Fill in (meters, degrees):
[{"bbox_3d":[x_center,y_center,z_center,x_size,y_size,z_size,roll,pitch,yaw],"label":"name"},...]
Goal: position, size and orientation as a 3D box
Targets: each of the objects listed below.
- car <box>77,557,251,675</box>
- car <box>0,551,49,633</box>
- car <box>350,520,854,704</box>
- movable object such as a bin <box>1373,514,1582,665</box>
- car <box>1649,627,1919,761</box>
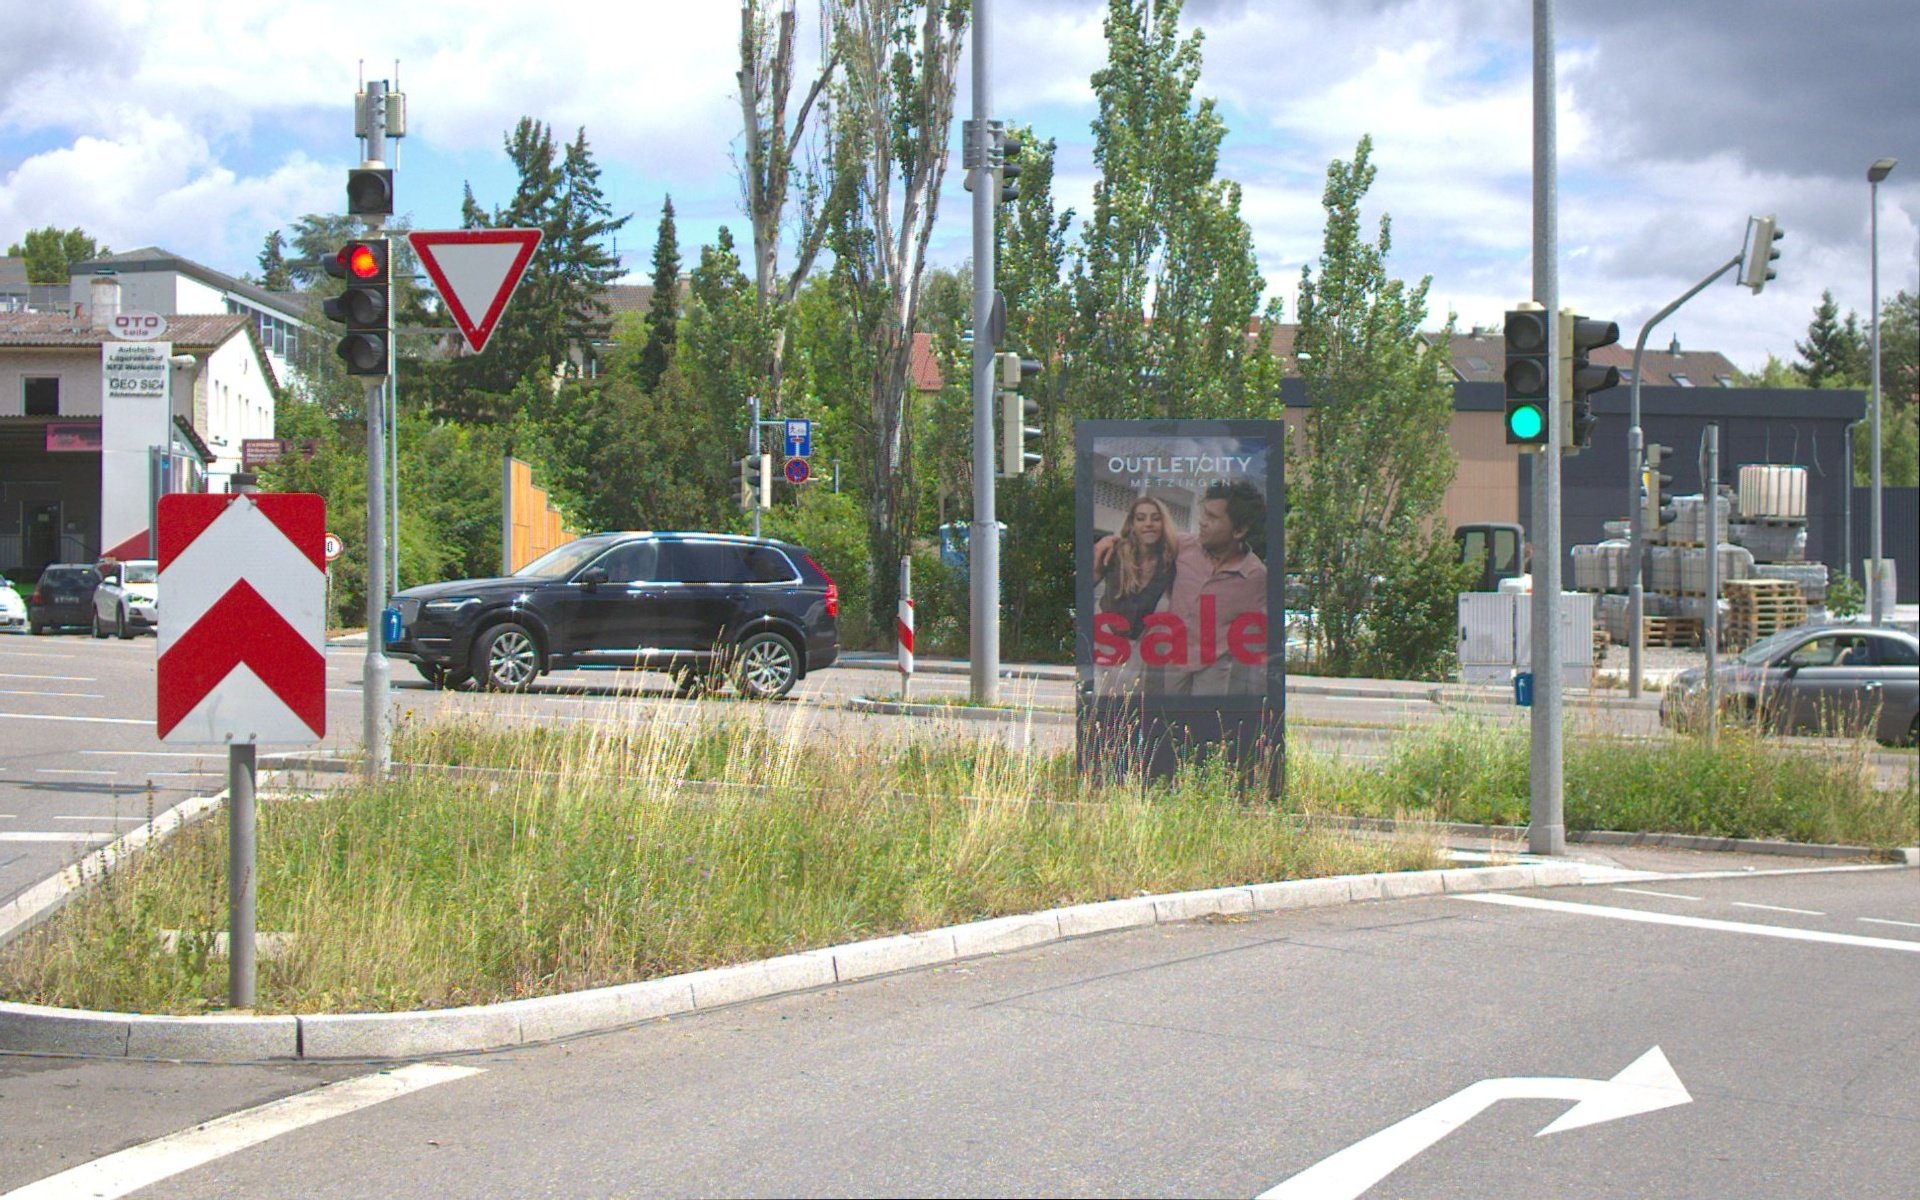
[{"bbox_3d":[-14.360,0.282,61.887,1.993,2.007,4.000,-2,1,-29],"label":"car"},{"bbox_3d":[-17.878,-0.205,61.200,1.691,1.395,3.999,2,0,-39],"label":"car"},{"bbox_3d":[-3.838,0.136,37.072,4.965,1.684,1.911,3,1,-27],"label":"car"},{"bbox_3d":[9.372,-0.187,62.125,3.406,2.529,2.151,3,0,15],"label":"movable object such as a bin"},{"bbox_3d":[10.004,1.086,40.279,3.512,1.455,1.586,-1,1,-2],"label":"car"}]
